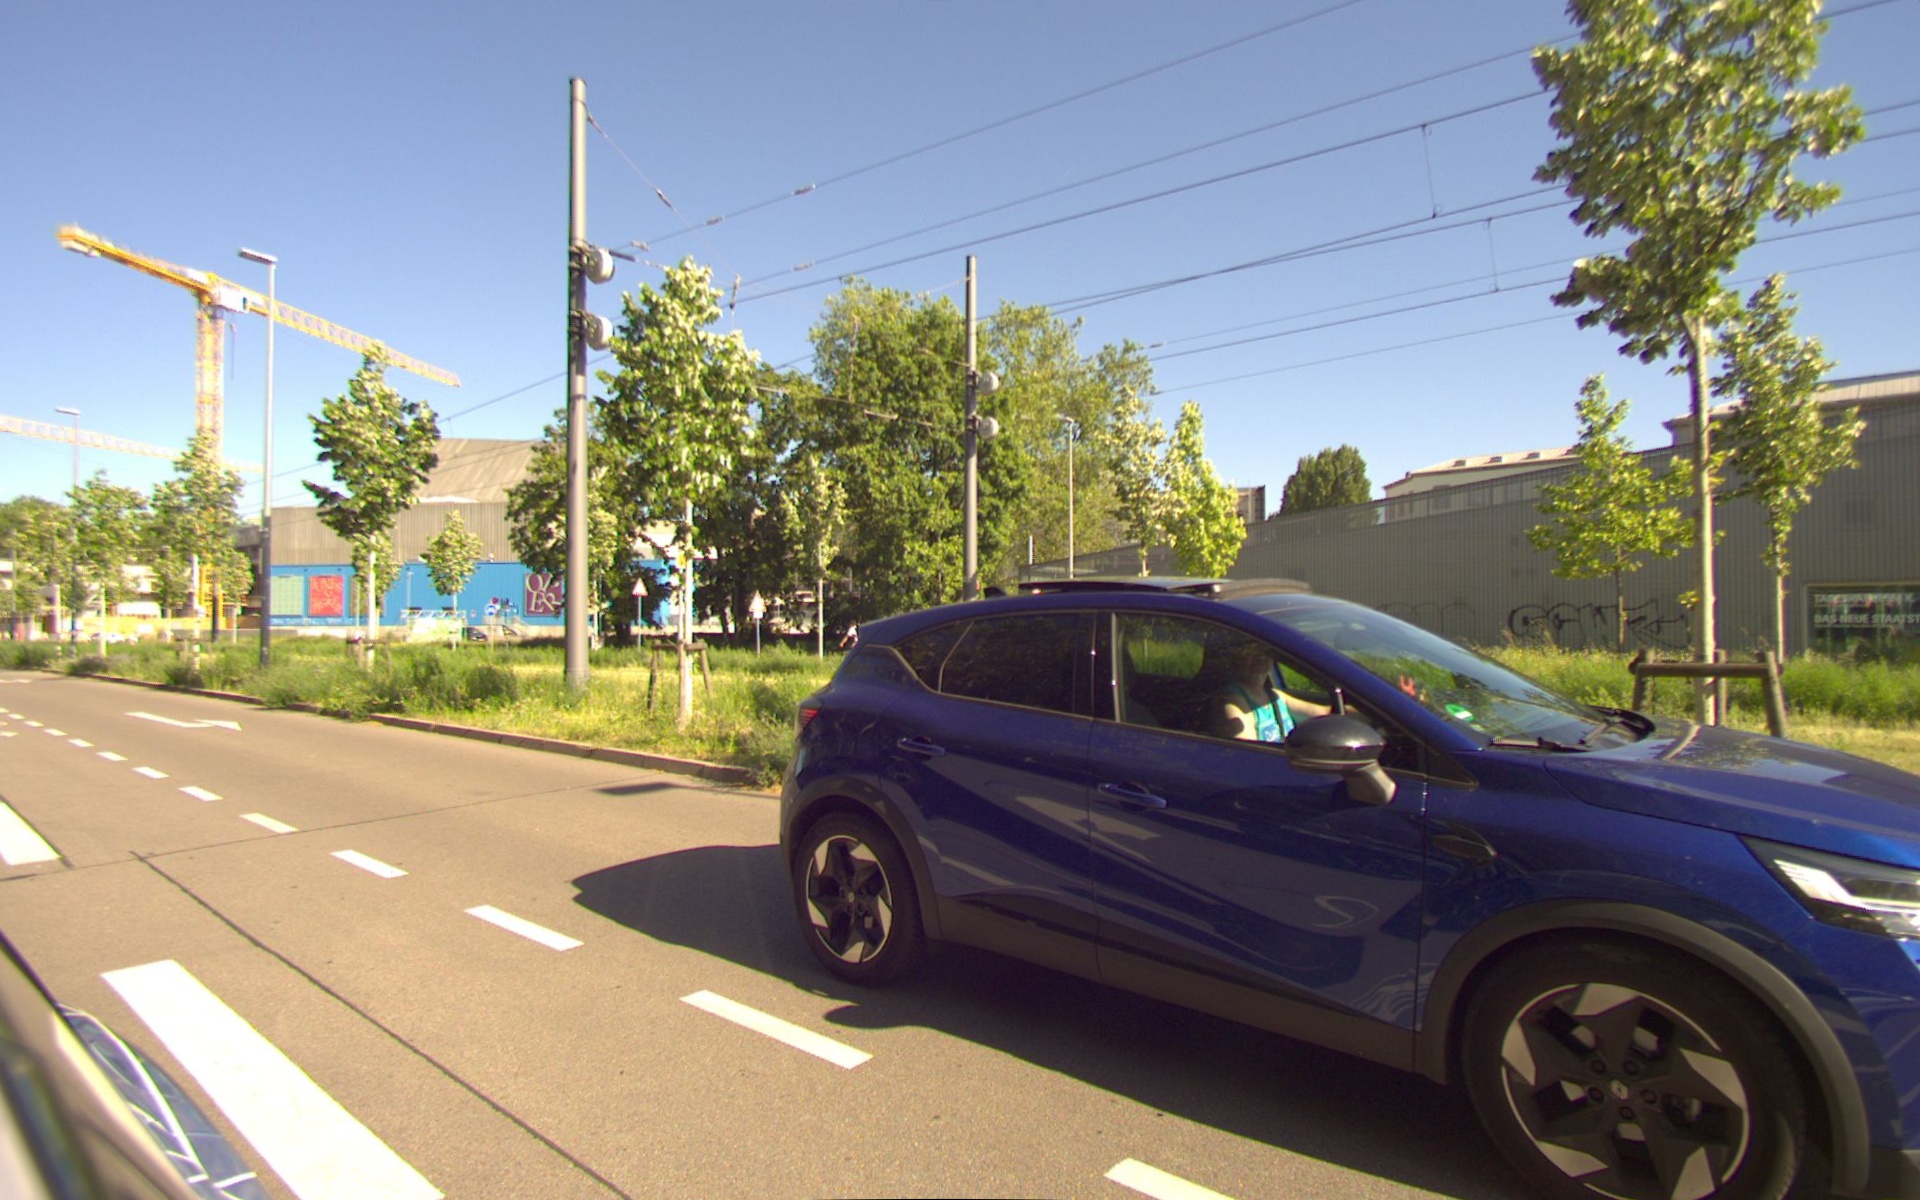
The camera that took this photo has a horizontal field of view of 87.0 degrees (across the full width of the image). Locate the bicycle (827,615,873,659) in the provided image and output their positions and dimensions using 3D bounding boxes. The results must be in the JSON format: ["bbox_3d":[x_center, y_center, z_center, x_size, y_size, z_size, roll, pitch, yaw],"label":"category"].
[{"bbox_3d":[-3.745,1.250,34.299,1.912,1.466,0.356,-2,-2,41],"label":"bicycle"}]

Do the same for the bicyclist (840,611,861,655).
[{"bbox_3d":[-3.717,1.108,34.289,0.539,1.465,0.390,-2,0,40],"label":"bicyclist"}]

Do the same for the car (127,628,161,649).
[{"bbox_3d":[-75.945,3.536,94.194,3.998,1.811,1.779,-1,1,41],"label":"car"}]

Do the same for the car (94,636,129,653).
[{"bbox_3d":[-73.263,3.858,87.376,3.829,1.409,1.617,-2,-2,39],"label":"car"}]

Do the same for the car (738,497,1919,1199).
[{"bbox_3d":[1.201,0.650,3.690,4.148,1.635,1.727,-2,-1,39],"label":"car"}]
